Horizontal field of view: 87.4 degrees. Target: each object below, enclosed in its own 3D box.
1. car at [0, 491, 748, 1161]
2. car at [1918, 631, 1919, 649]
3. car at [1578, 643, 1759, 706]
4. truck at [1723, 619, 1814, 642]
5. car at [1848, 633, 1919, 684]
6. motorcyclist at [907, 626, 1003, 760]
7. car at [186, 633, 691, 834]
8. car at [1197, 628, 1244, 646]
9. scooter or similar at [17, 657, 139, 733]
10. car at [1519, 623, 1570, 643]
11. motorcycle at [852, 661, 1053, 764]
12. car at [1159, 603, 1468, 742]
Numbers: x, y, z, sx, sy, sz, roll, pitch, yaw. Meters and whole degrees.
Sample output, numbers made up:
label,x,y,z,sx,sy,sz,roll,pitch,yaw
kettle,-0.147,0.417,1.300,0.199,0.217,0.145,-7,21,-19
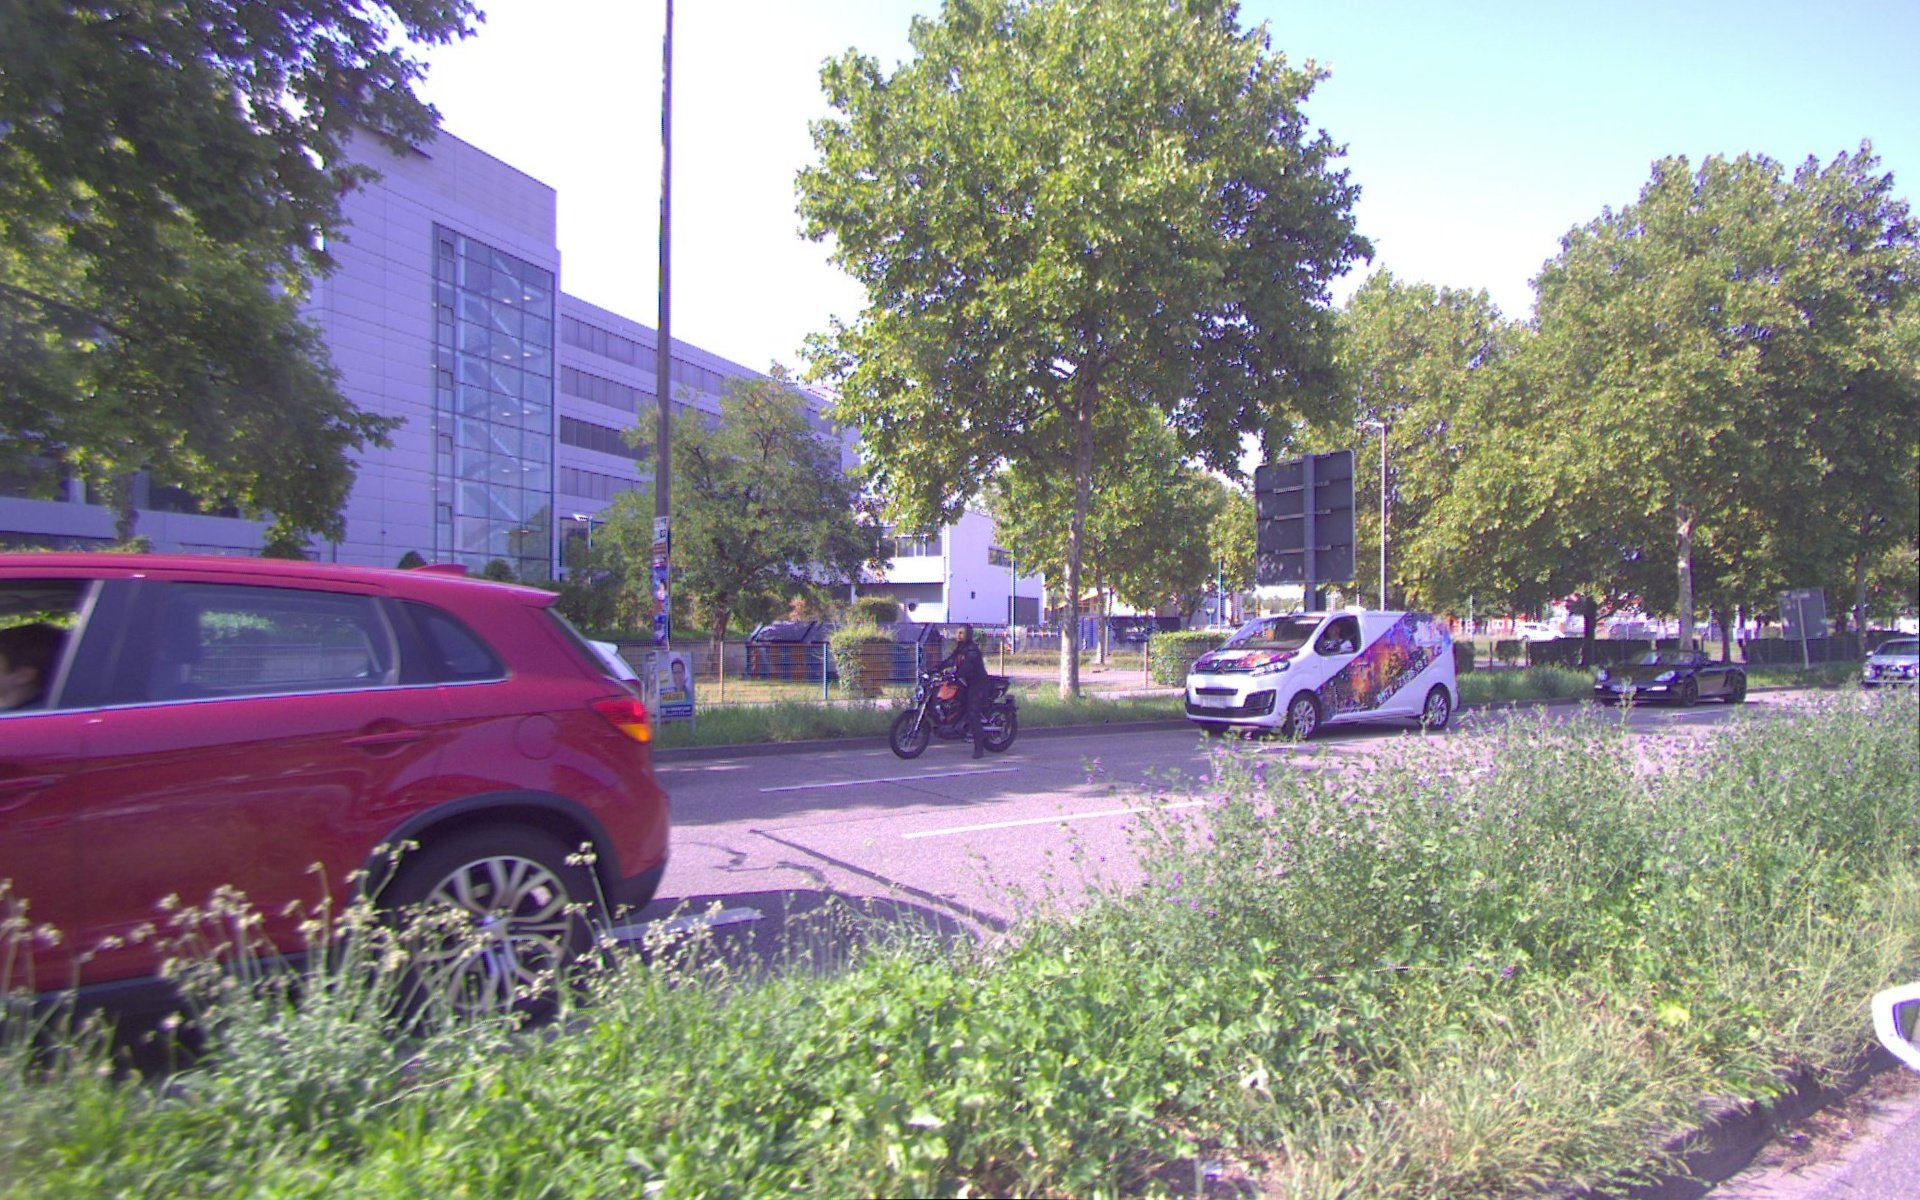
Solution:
label,x,y,z,sx,sy,sz,roll,pitch,yaw
car,-3.211,0.607,3.337,4.536,1.747,1.943,1,-2,-32
car,81.787,3.333,82.935,3.631,1.462,1.466,0,-1,22
car,15.830,1.622,22.408,4.047,1.279,1.783,1,-3,-30
truck,108.011,4.149,134.378,8.840,2.996,3.514,-1,-2,23
car,29.498,1.796,31.295,3.958,1.501,1.780,1,-2,-34
motorcyclist,-0.070,1.113,12.451,0.912,1.574,0.774,1,-1,-31
car,-4.598,1.074,9.256,3.787,1.498,1.738,1,-3,-31
car,27.188,3.820,104.796,4.499,1.565,1.870,2,1,19
scooter or similar,-14.068,1.494,16.058,1.365,1.142,0.506,1,-1,-31
car,54.236,3.046,93.217,3.924,1.701,1.869,0,-1,25
motorcycle,-0.059,1.344,12.455,2.439,1.122,0.790,1,-1,-31
car,5.648,1.092,15.859,4.914,1.883,1.974,1,-4,-32
